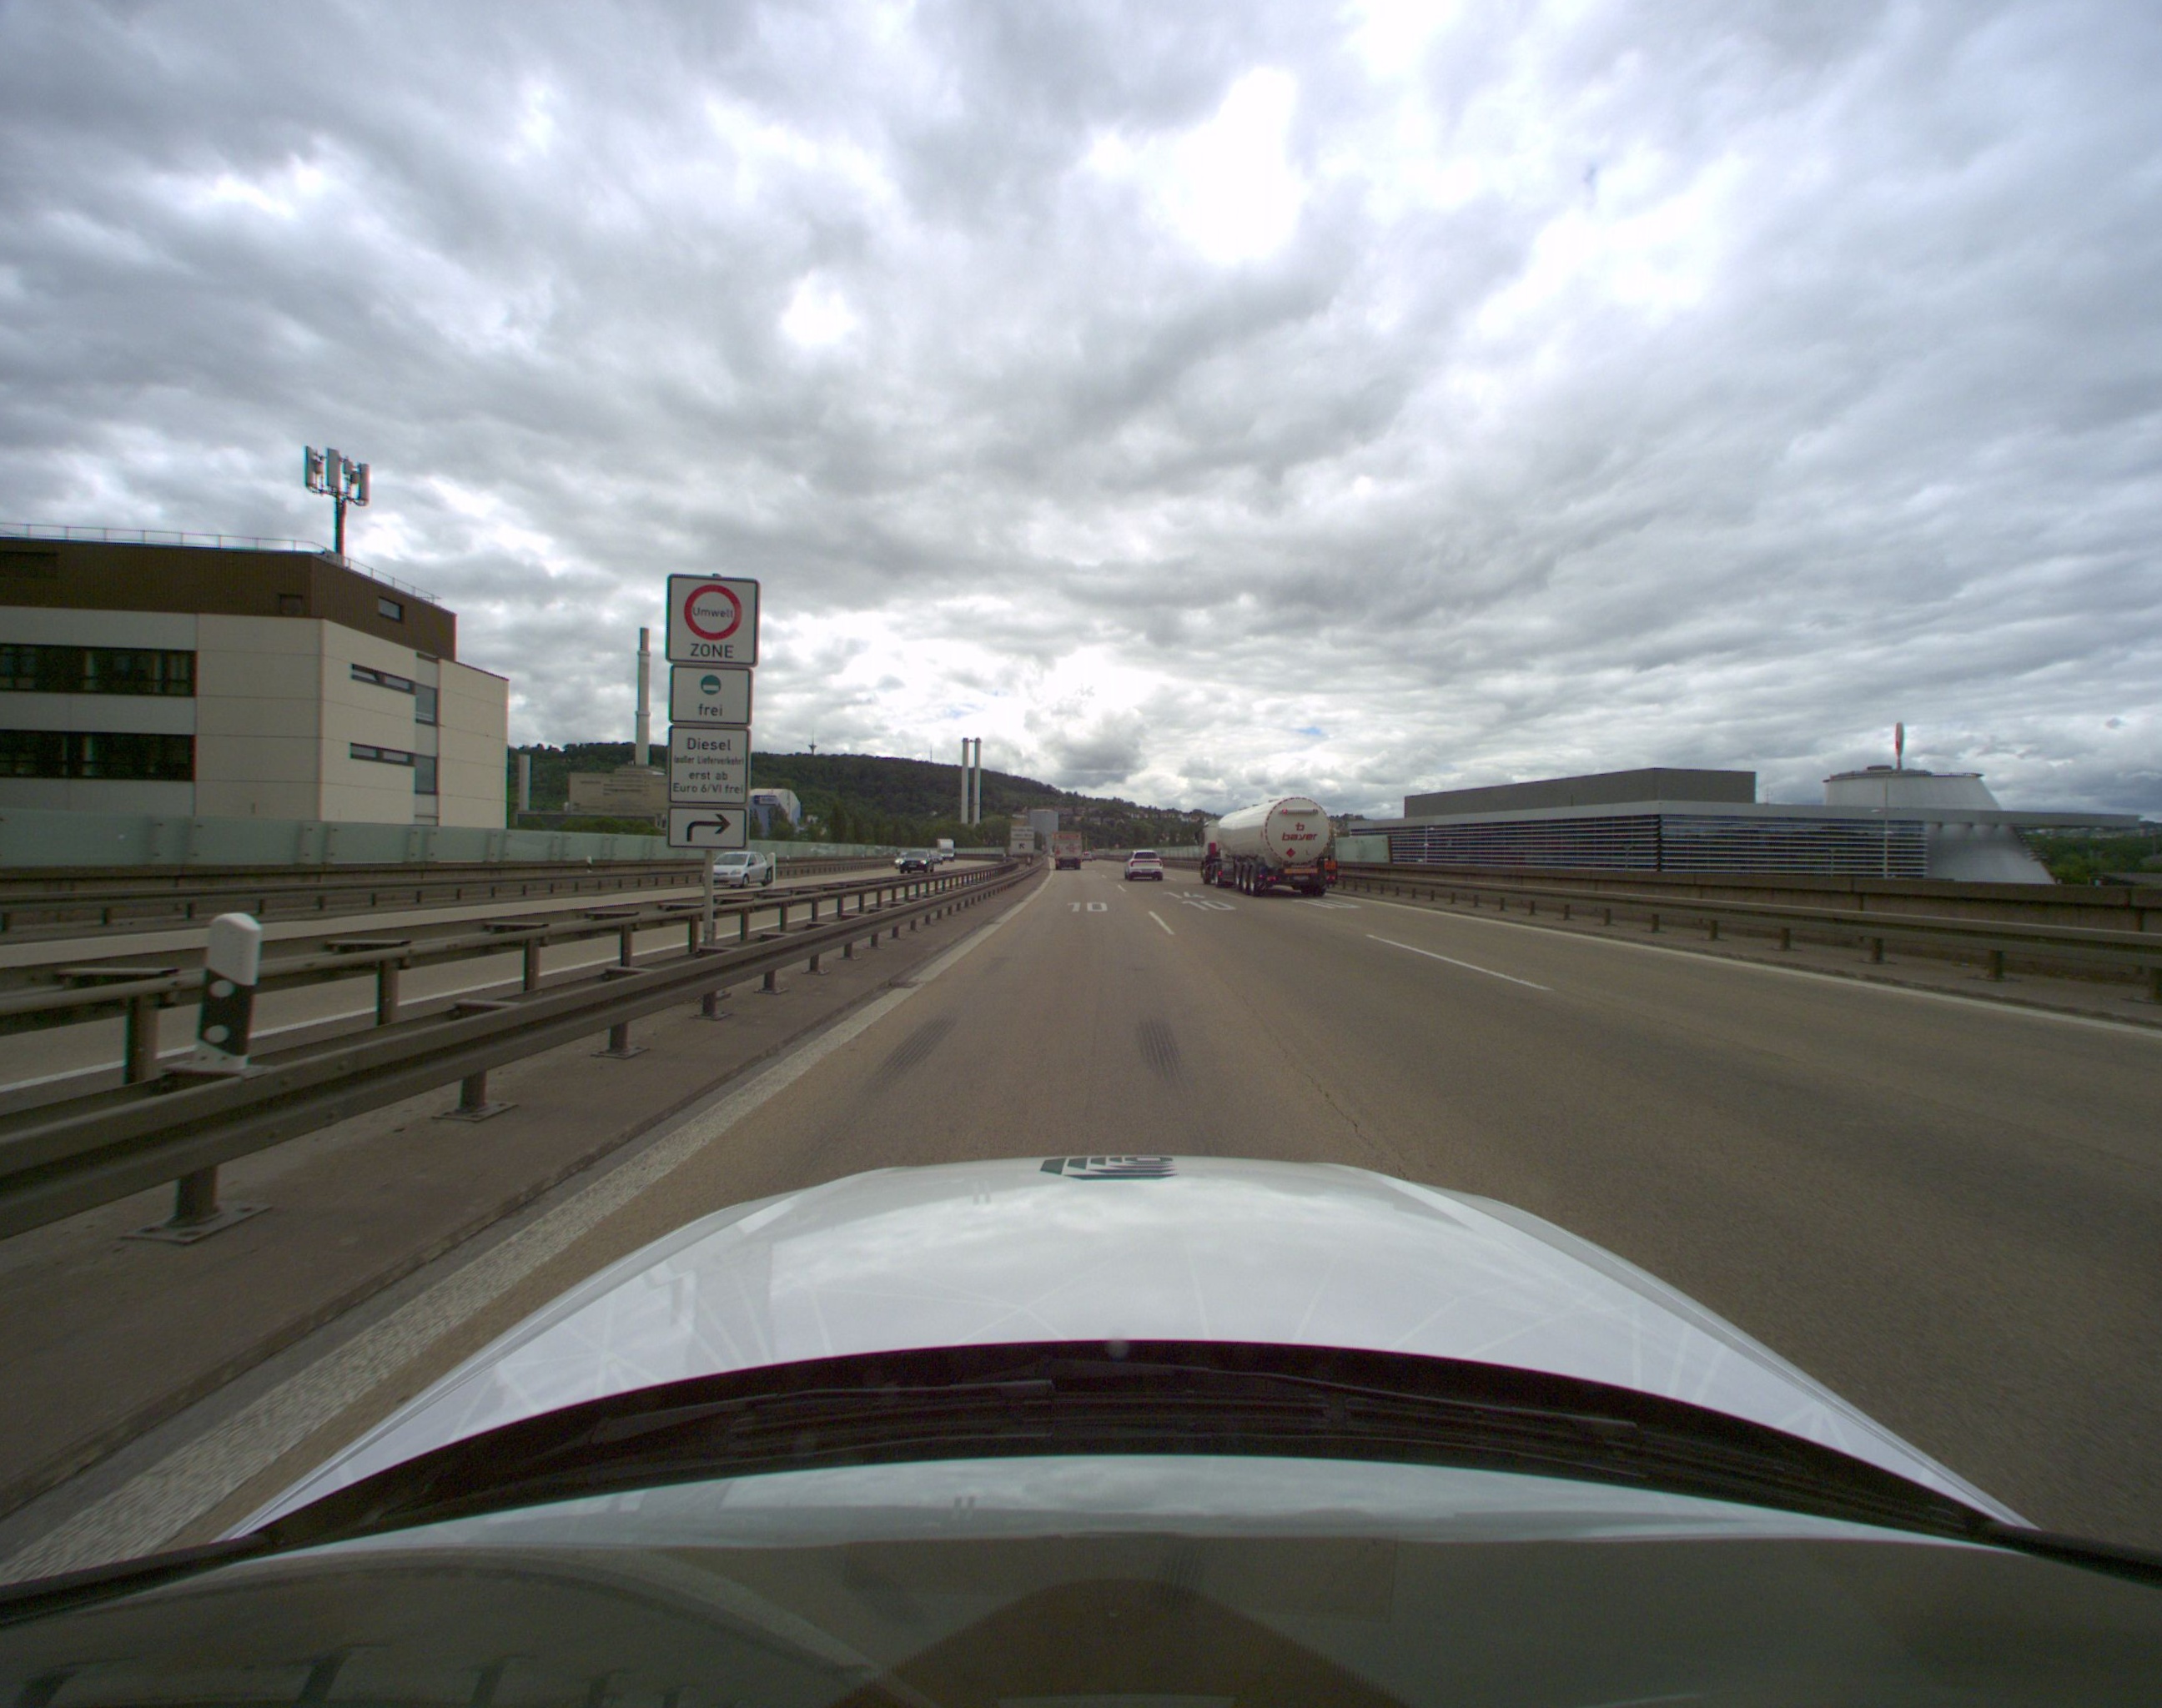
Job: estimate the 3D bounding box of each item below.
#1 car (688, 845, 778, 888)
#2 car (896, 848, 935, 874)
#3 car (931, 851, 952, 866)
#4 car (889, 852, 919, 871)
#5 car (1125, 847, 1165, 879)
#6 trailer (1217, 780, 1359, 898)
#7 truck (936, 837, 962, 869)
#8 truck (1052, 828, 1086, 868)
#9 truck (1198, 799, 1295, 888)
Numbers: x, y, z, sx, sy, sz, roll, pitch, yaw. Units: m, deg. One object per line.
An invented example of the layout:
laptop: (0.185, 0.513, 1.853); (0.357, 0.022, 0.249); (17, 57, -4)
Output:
car: (-14.488, 0.515, 34.221); (1.988, 1.675, 4.404); (-1, -1, -2)
car: (-11.497, 0.479, 56.791); (1.989, 1.675, 4.404); (-1, -1, -2)
car: (-16.364, 0.570, 95.892); (1.989, 1.675, 4.402); (-1, -1, -4)
car: (-16.207, 0.670, 74.782); (1.989, 1.675, 4.404); (-1, -1, -2)
car: (3.532, 0.513, 45.571); (1.986, 1.675, 4.409); (-1, -1, 1)
trailer: (7.425, -0.458, 30.594); (3.048, 3.790, 8.299); (-1, 0, -1)
truck: (-19.552, -0.166, 121.345); (3.052, 4.562, 8.290); (-1, 0, -4)
truck: (-1.198, -0.554, 79.412); (3.048, 3.691, 8.299); (-1, 0, -1)
truck: (7.310, -0.424, 36.912); (3.006, 3.657, 6.270); (-1, -1, -1)
